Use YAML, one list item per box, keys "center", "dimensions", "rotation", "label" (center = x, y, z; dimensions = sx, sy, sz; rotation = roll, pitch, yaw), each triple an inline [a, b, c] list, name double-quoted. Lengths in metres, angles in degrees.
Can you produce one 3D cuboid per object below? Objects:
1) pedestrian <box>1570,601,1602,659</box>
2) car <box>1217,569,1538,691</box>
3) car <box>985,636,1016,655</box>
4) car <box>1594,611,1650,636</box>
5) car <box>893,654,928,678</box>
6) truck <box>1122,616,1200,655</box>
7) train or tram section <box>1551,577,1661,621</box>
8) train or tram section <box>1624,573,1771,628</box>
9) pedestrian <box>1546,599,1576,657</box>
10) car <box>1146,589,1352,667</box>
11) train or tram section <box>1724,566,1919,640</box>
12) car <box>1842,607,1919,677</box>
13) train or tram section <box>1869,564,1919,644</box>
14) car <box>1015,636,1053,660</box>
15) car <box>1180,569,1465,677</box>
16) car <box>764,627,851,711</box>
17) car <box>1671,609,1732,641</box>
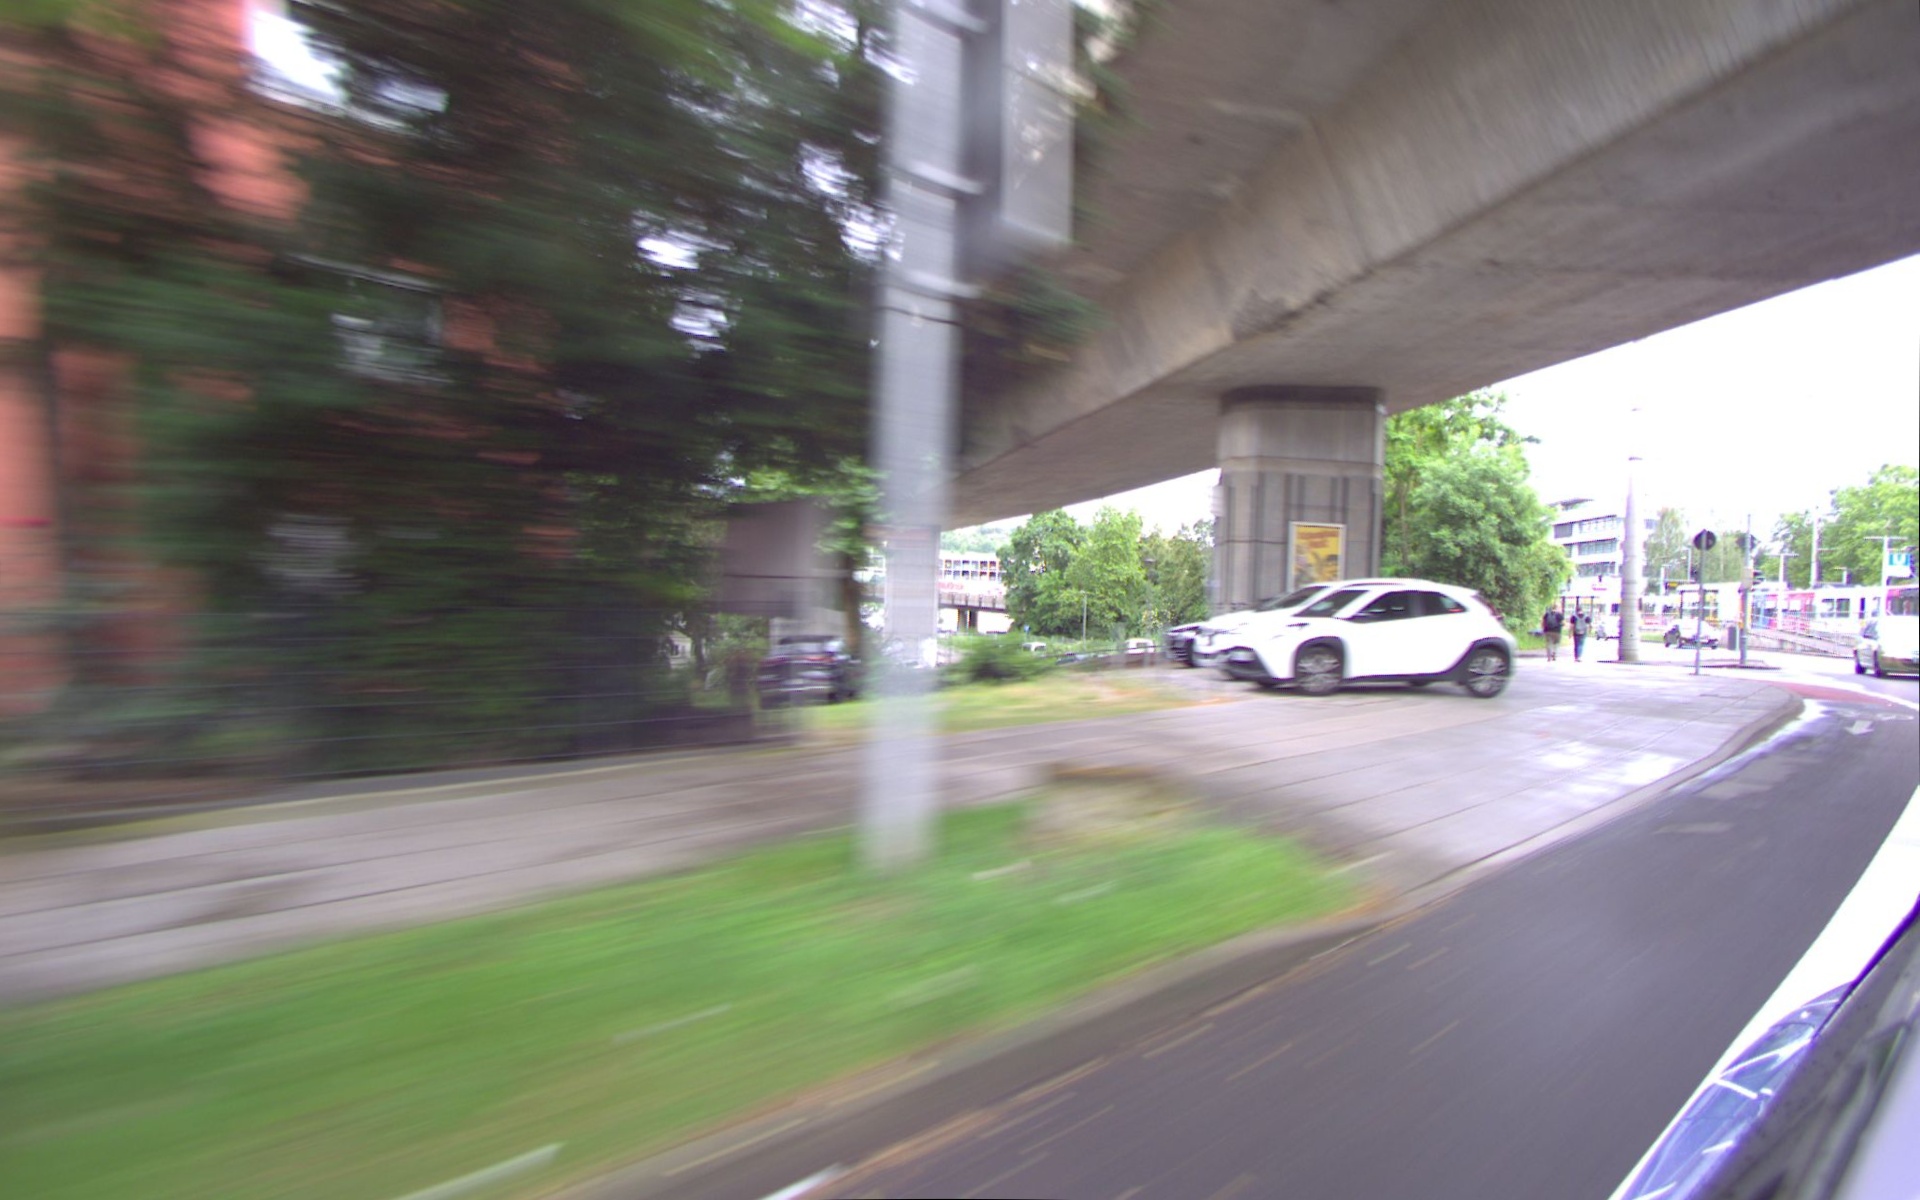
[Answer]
- center: [20.056, 0.952, 32.412]
  dimensions: [0.821, 1.831, 0.626]
  rotation: [0, 0, -41]
  label: "pedestrian"
- center: [5.670, 0.390, 13.988]
  dimensions: [3.659, 1.541, 1.805]
  rotation: [1, 0, -8]
  label: "car"
- center: [3.766, 4.239, 94.411]
  dimensions: [1.799, 1.553, 3.781]
  rotation: [1, 0, -17]
  label: "car"
- center: [44.806, 1.573, 68.576]
  dimensions: [1.971, 1.591, 3.982]
  rotation: [-1, 0, 15]
  label: "car"
- center: [-3.925, 5.140, 79.185]
  dimensions: [1.958, 1.629, 4.298]
  rotation: [1, 0, -14]
  label: "car"
- center: [11.691, 2.021, 59.453]
  dimensions: [2.652, 2.039, 5.772]
  rotation: [1, 0, -9]
  label: "truck"
- center: [64.232, -0.149, 101.479]
  dimensions: [2.833, 4.023, 19.256]
  rotation: [-1, 0, 13]
  label: "train or tram section"
- center: [59.673, -0.030, 82.857]
  dimensions: [2.835, 4.004, 19.241]
  rotation: [-1, 0, 15]
  label: "train or tram section"
- center: [19.466, 0.885, 32.780]
  dimensions: [0.894, 1.845, 0.598]
  rotation: [0, -1, -42]
  label: "pedestrian"
- center: [6.310, 0.589, 22.378]
  dimensions: [3.919, 1.592, 1.907]
  rotation: [-1, 0, -6]
  label: "car"
- center: [54.343, 0.098, 64.389]
  dimensions: [2.839, 4.021, 19.220]
  rotation: [-1, 0, 18]
  label: "train or tram section"
- center: [22.950, 0.996, 24.247]
  dimensions: [1.765, 1.520, 3.962]
  rotation: [3, 1, 27]
  label: "car"
- center: [48.152, 0.236, 46.210]
  dimensions: [2.841, 4.011, 19.202]
  rotation: [-1, 0, 20]
  label: "train or tram section"
- center: [6.380, 4.129, 87.792]
  dimensions: [1.915, 1.880, 3.900]
  rotation: [1, 0, -19]
  label: "car"
- center: [5.906, 0.361, 16.768]
  dimensions: [3.941, 1.651, 1.970]
  rotation: [1, 0, -8]
  label: "car"
- center: [-3.552, 1.518, 23.397]
  dimensions: [1.842, 1.672, 3.625]
  rotation: [0, 0, -10]
  label: "car"
- center: [38.535, 1.276, 52.703]
  dimensions: [1.762, 1.520, 3.967]
  rotation: [1, 0, 24]
  label: "car"
